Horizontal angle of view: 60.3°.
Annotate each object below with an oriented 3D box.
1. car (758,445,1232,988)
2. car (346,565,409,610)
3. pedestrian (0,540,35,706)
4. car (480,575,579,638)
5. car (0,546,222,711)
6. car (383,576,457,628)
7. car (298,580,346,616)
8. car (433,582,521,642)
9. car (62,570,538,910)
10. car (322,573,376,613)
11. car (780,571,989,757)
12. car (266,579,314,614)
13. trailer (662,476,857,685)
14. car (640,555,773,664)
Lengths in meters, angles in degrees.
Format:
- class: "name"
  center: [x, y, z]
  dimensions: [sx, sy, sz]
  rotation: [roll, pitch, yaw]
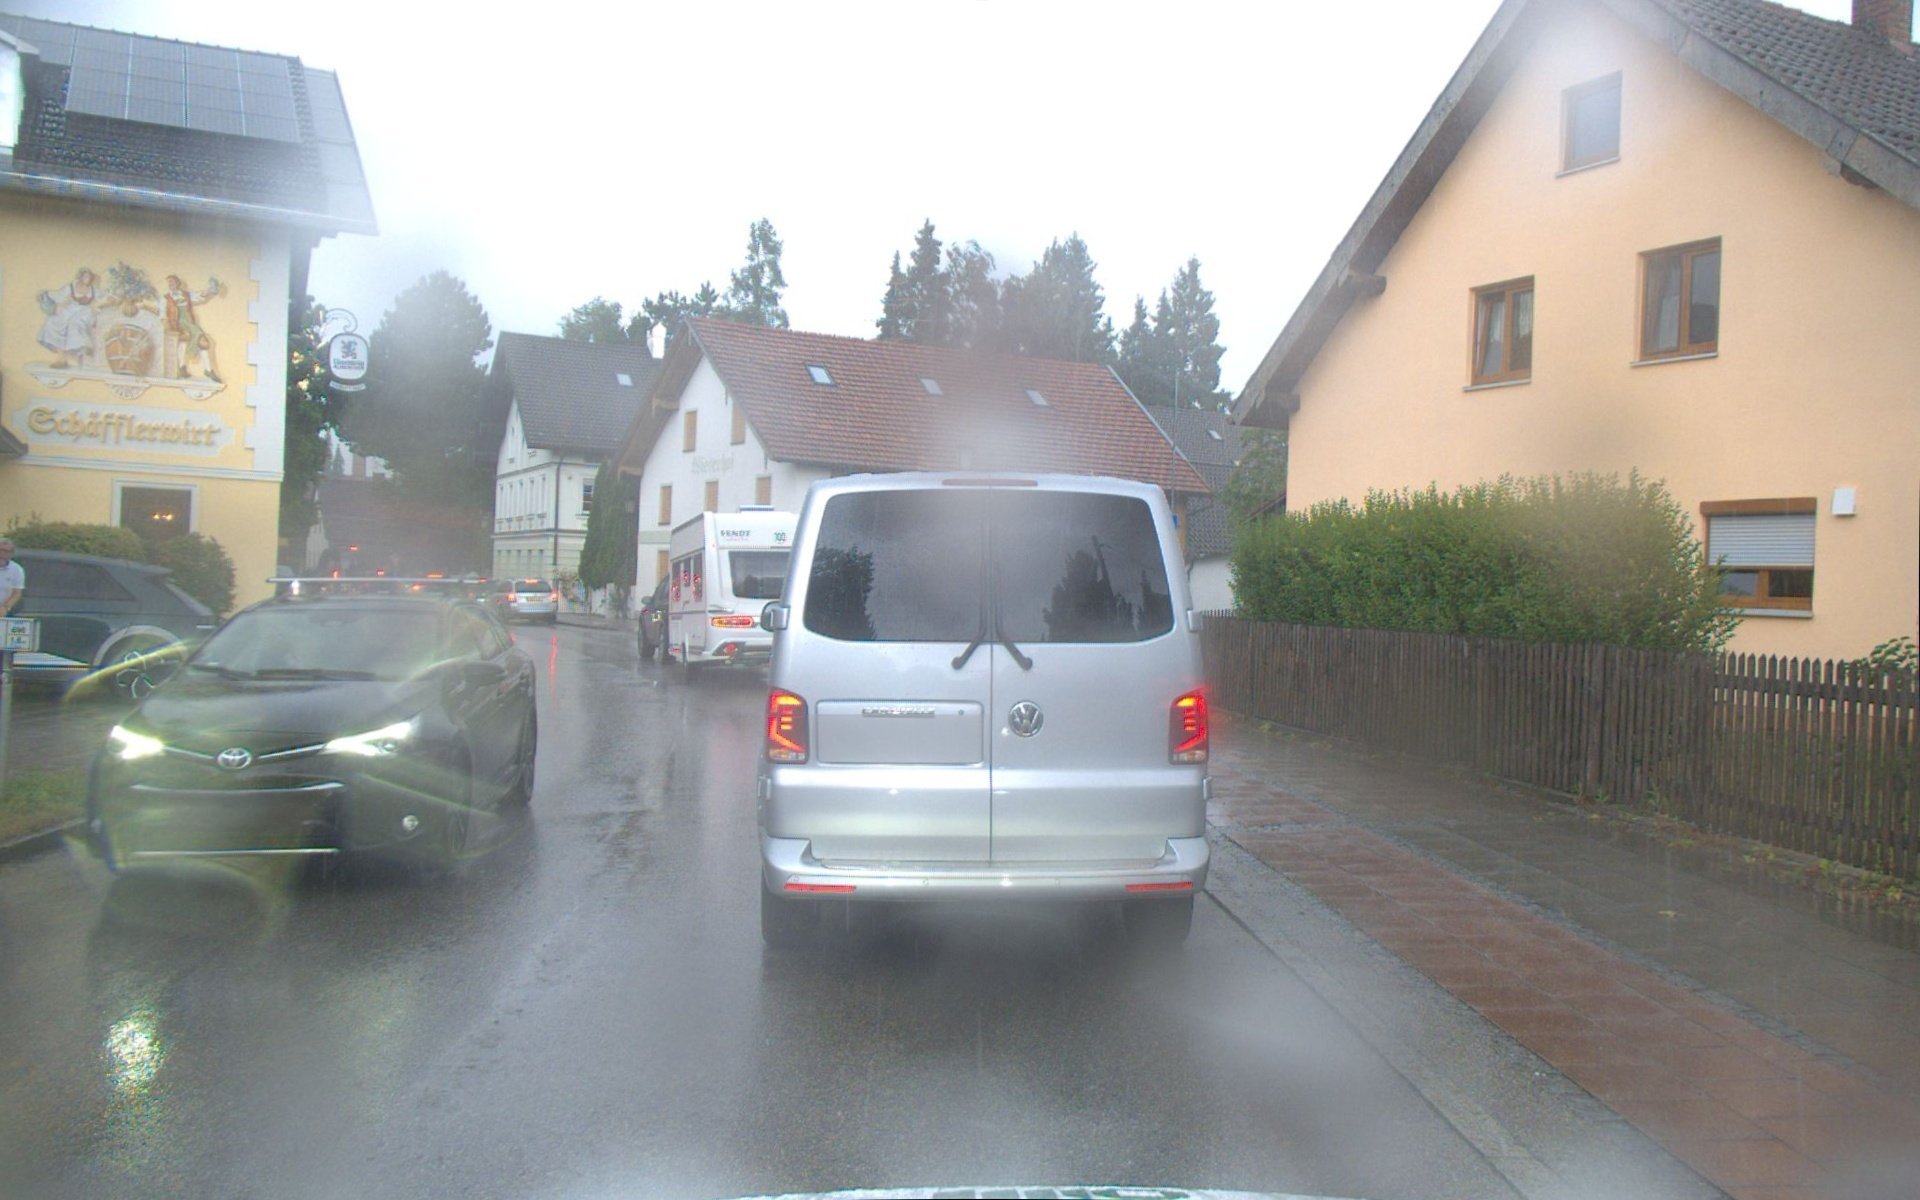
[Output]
- class: "car"
  center: [0.111, 0.425, 8.646]
  dimensions: [1.740, 1.997, 5.073]
  rotation: [0, 0, -1]
- class: "car"
  center: [-27.761, -0.617, 78.771]
  dimensions: [2.143, 1.932, 4.971]
  rotation: [2, 1, -27]
- class: "pedestrian"
  center: [-10.183, 0.228, 17.376]
  dimensions: [0.481, 1.719, 0.554]
  rotation: [4, -1, -1]
- class: "car"
  center: [-14.294, 0.191, 54.708]
  dimensions: [2.143, 1.932, 4.970]
  rotation: [2, -1, -27]
- class: "car"
  center: [-10.689, 0.223, 18.251]
  dimensions: [4.427, 1.594, 1.822]
  rotation: [5, 1, -30]
- class: "car"
  center: [-22.449, 0.043, 68.593]
  dimensions: [2.143, 1.932, 4.971]
  rotation: [2, 1, -27]
- class: "car"
  center: [-38.001, -0.158, 98.480]
  dimensions: [2.143, 1.932, 4.971]
  rotation: [2, 1, -27]
- class: "car"
  center: [-17.621, 0.401, 60.217]
  dimensions: [2.143, 1.932, 4.971]
  rotation: [2, 1, -27]
- class: "car"
  center: [-3.555, 0.623, 9.699]
  dimensions: [1.607, 1.547, 4.181]
  rotation: [0, 0, -8]
- class: "car"
  center: [-32.911, -0.381, 88.984]
  dimensions: [2.143, 1.932, 4.971]
  rotation: [2, 1, -27]
- class: "car"
  center: [-0.921, 0.527, 17.107]
  dimensions: [1.677, 1.611, 4.677]
  rotation: [-1, 1, -9]
- class: "car"
  center: [-34.179, -0.199, 84.383]
  dimensions: [1.900, 1.775, 4.154]
  rotation: [0, 0, -28]
- class: "trailer"
  center: [-3.396, -0.285, 26.727]
  dimensions: [2.233, 2.955, 6.107]
  rotation: [1, 0, -15]
- class: "car"
  center: [-5.008, 0.168, 32.116]
  dimensions: [2.019, 1.932, 5.155]
  rotation: [1, 0, -15]
